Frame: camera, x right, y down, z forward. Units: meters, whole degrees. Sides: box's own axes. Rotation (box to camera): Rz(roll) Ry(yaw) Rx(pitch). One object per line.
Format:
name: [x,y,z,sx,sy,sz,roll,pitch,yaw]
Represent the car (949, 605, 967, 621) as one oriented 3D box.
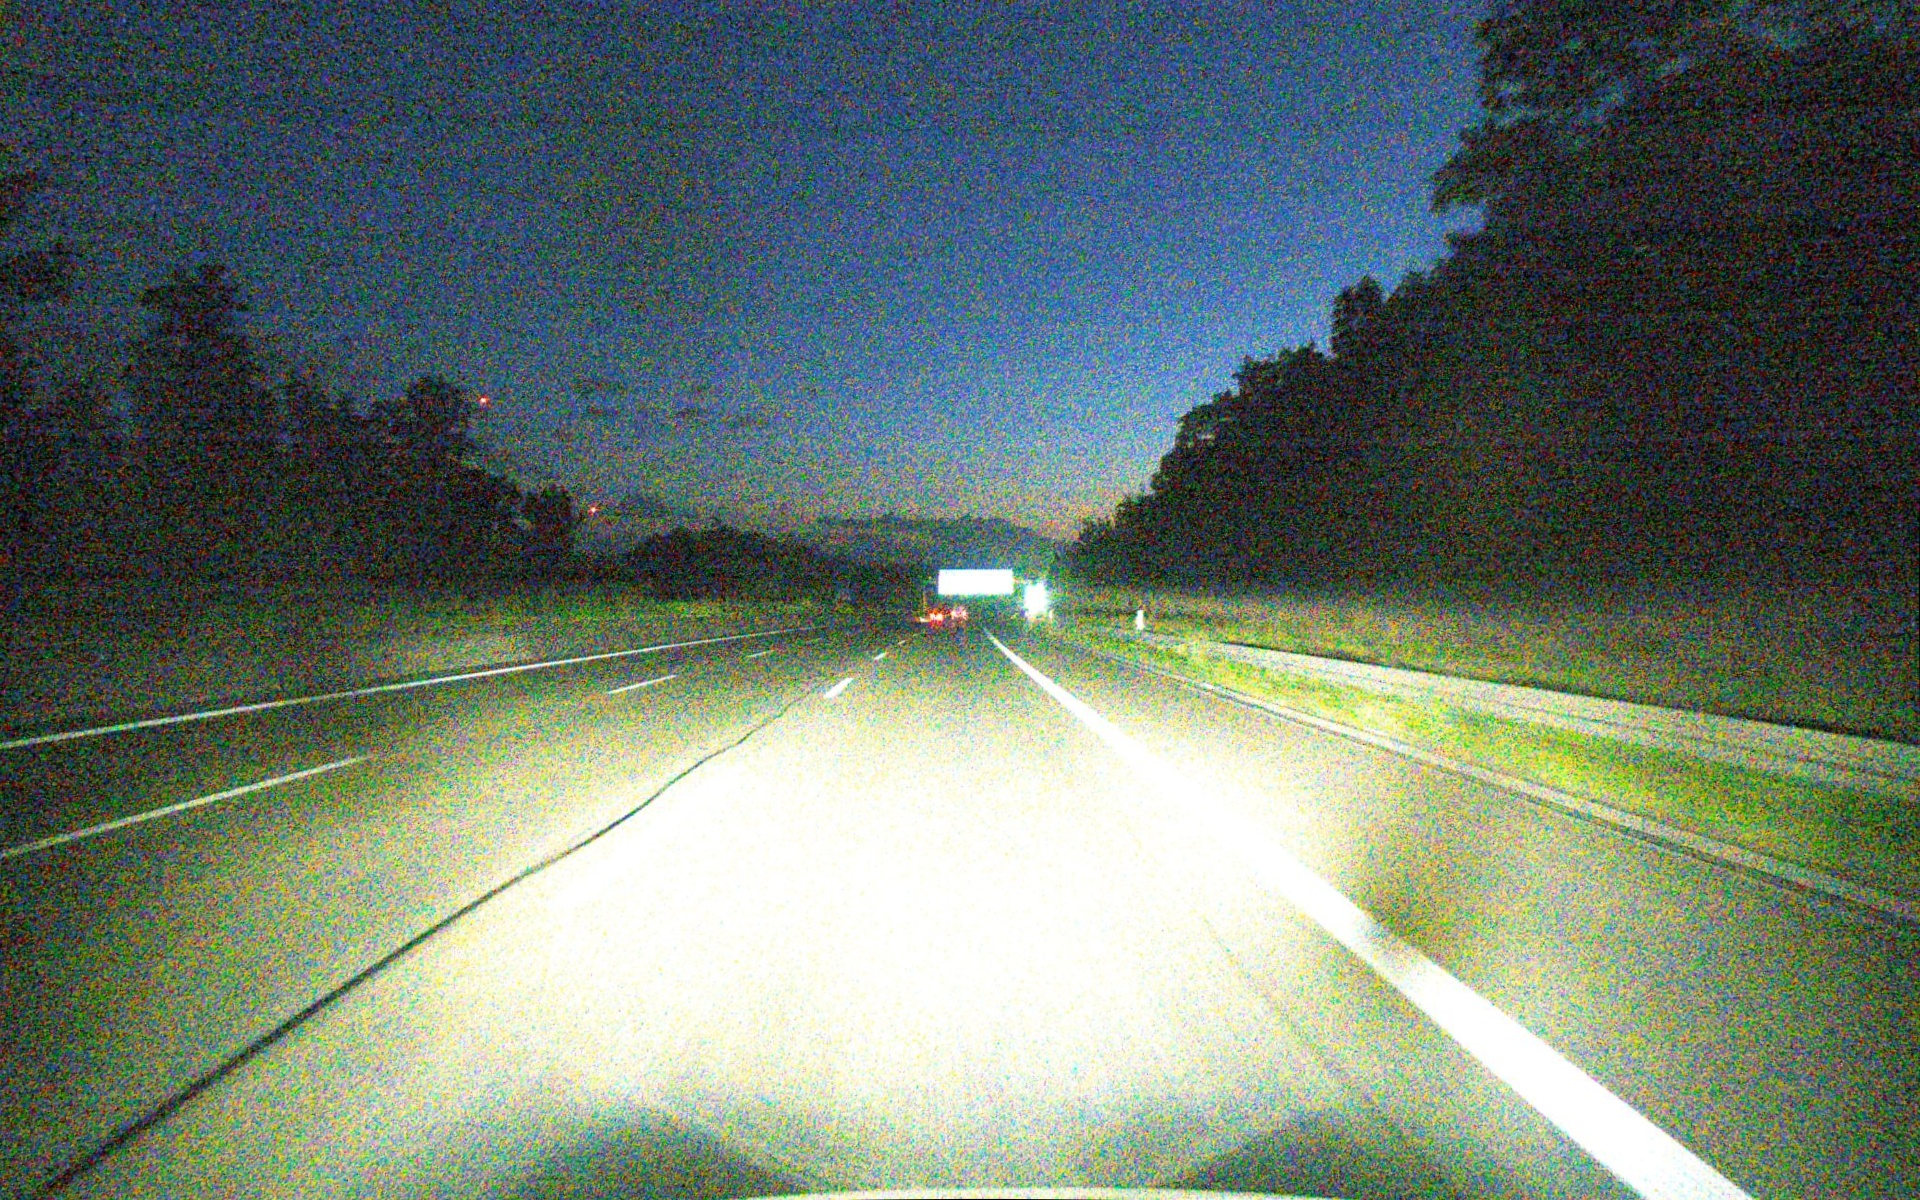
car: [-0.352,2.085,257.289,2.458,2.354,4.972,0,-1,4]
